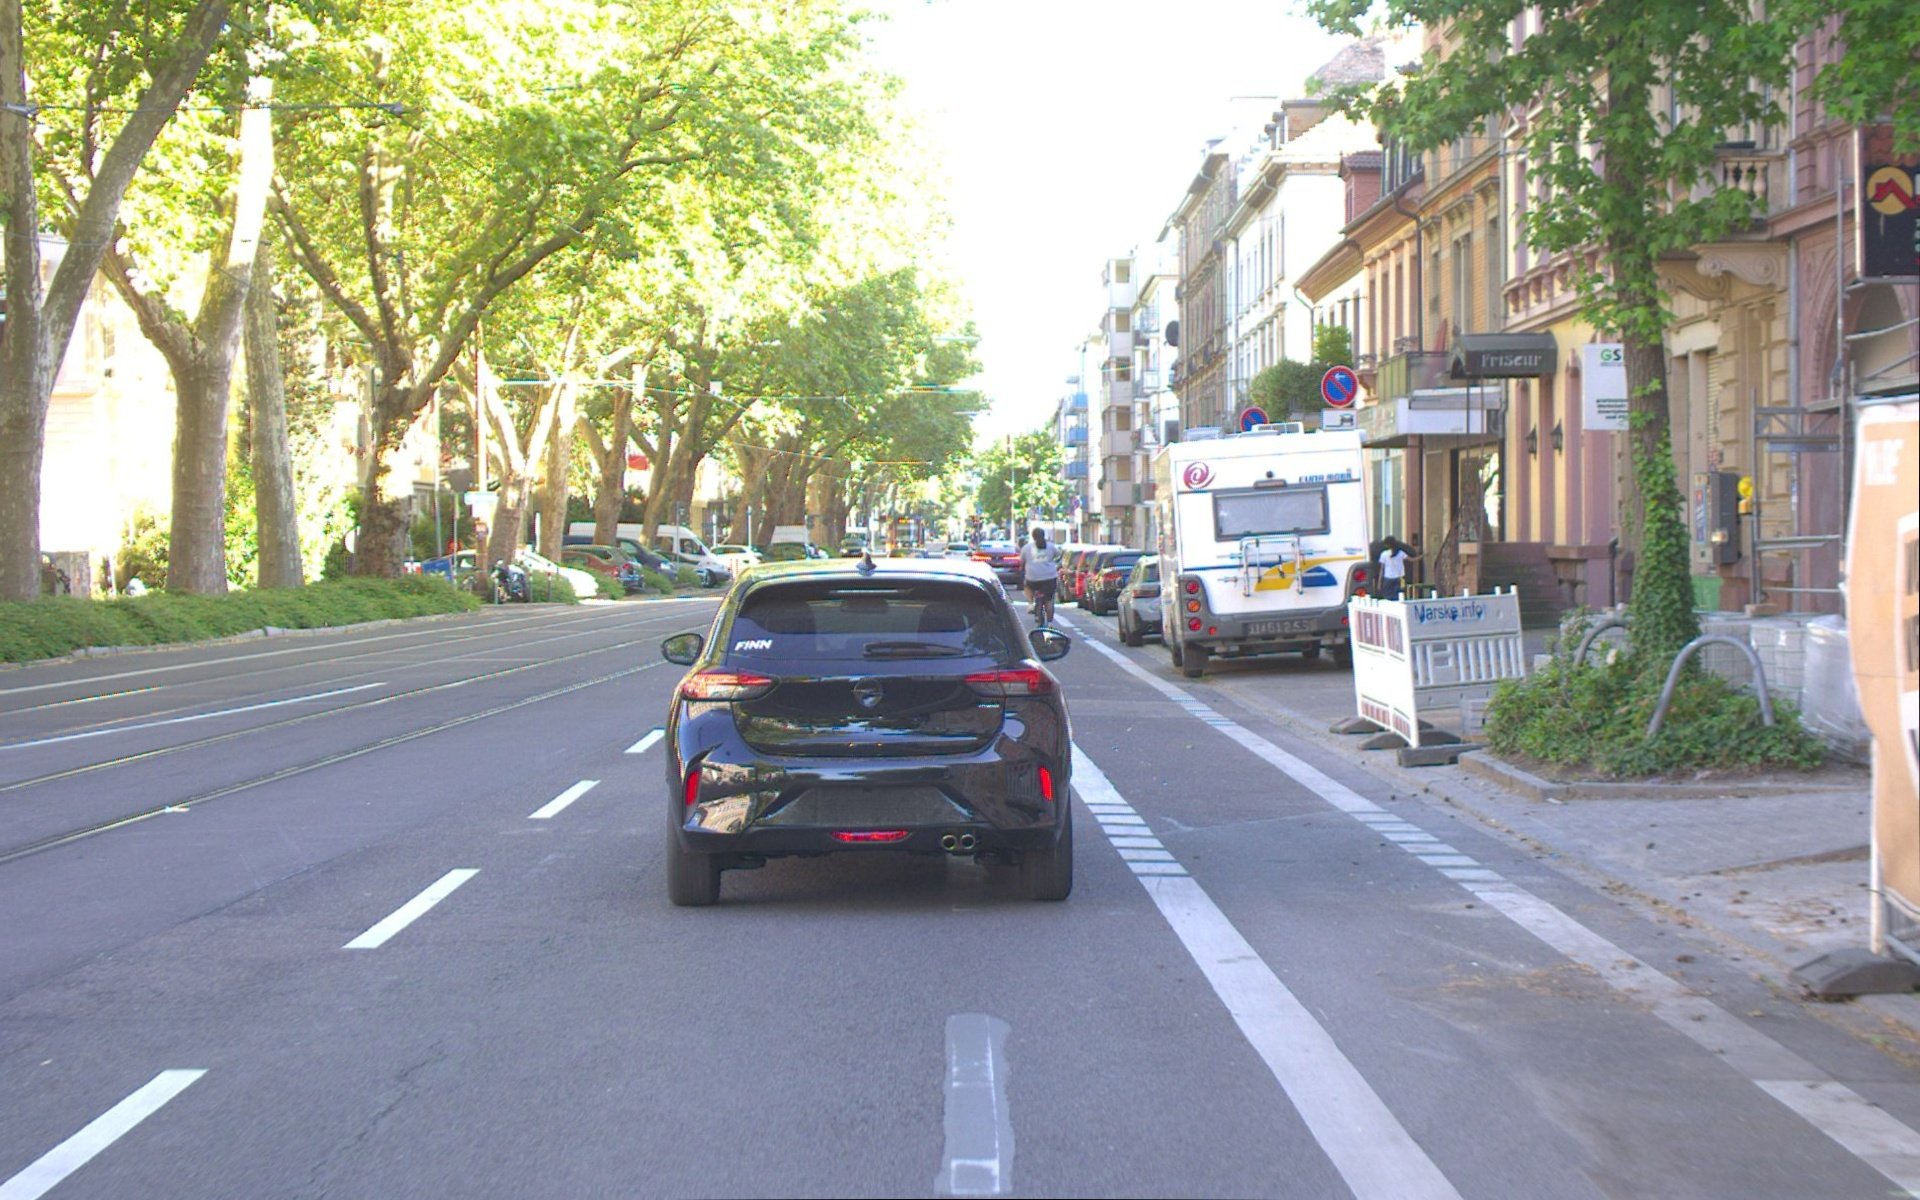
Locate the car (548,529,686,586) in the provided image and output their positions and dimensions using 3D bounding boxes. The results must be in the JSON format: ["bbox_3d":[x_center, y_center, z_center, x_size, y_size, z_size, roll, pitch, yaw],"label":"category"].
[{"bbox_3d":[-12.309,-1.537,123.513,4.675,1.917,1.980,2,1,2],"label":"car"}]

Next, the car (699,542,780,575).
[{"bbox_3d":[-10.837,-2.054,169.262,3.919,1.493,1.677,2,1,-2],"label":"car"}]

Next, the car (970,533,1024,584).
[{"bbox_3d":[1.293,-1.450,119.069,1.810,1.736,3.933,0,1,2],"label":"car"}]

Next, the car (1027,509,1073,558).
[{"bbox_3d":[4.342,-3.198,166.022,2.075,2.211,4.933,-3,1,2],"label":"car"}]

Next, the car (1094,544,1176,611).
[{"bbox_3d":[3.839,-0.514,75.890,1.694,1.388,4.494,-1,1,2],"label":"car"}]

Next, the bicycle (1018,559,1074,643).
[{"bbox_3d":[1.468,-0.001,59.023,0.860,1.402,2.524,0,1,-1],"label":"bicycle"}]

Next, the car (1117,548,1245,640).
[{"bbox_3d":[3.615,-0.125,56.970,1.809,1.430,4.665,-1,1,0],"label":"car"}]

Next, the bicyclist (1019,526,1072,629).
[{"bbox_3d":[1.462,-0.394,59.071,0.848,1.734,1.162,0,1,-1],"label":"bicyclist"}]

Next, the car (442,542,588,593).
[{"bbox_3d":[-12.653,-0.930,97.920,3.921,1.448,1.800,0,1,1],"label":"car"}]

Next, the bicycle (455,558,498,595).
[{"bbox_3d":[-12.593,-0.617,89.549,0.541,0.937,2.033,1,1,8],"label":"bicycle"}]

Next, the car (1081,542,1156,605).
[{"bbox_3d":[3.828,-0.660,83.595,1.651,1.451,3.868,-1,1,1],"label":"car"}]

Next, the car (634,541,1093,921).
[{"bbox_3d":[-0.374,0.486,15.291,1.794,1.436,3.531,1,2,0],"label":"car"}]

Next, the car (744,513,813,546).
[{"bbox_3d":[-10.531,-4.097,199.913,3.919,1.784,1.677,2,1,-2],"label":"car"}]

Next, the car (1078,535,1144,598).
[{"bbox_3d":[3.848,-0.865,88.052,1.634,1.541,3.576,-1,1,2],"label":"car"}]

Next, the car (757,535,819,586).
[{"bbox_3d":[-5.869,-1.369,117.481,1.866,1.624,4.560,0,2,0],"label":"car"}]

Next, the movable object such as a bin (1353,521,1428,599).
[{"bbox_3d":[8.452,-0.786,67.534,1.293,1.515,1.286,1,1,1],"label":"movable object such as a bin"}]

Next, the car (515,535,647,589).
[{"bbox_3d":[-12.281,-1.226,111.556,3.994,1.621,1.879,2,1,1],"label":"car"}]

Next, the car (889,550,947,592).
[{"bbox_3d":[-1.374,-0.979,114.011,1.810,1.333,3.933,0,1,1],"label":"car"}]

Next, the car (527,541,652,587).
[{"bbox_3d":[-12.269,-1.191,113.962,3.920,1.417,1.819,2,1,-1],"label":"car"}]

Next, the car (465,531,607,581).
[{"bbox_3d":[-12.405,-1.291,100.757,3.920,1.457,1.805,0,1,1],"label":"car"}]

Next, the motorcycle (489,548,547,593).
[{"bbox_3d":[-11.494,-0.775,89.515,0.884,1.143,2.390,1,1,8],"label":"motorcycle"}]

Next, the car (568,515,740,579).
[{"bbox_3d":[-12.309,-2.132,138.480,6.628,2.401,2.458,2,1,1],"label":"car"}]

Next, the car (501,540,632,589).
[{"bbox_3d":[-12.492,-1.128,109.288,3.920,1.437,1.749,2,1,1],"label":"car"}]

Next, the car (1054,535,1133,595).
[{"bbox_3d":[3.837,-1.013,99.334,1.880,1.580,3.933,-3,1,-3],"label":"car"}]

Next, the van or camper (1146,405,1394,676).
[{"bbox_3d":[3.760,-0.744,43.238,2.477,2.962,7.884,-3,1,2],"label":"van or camper"}]
